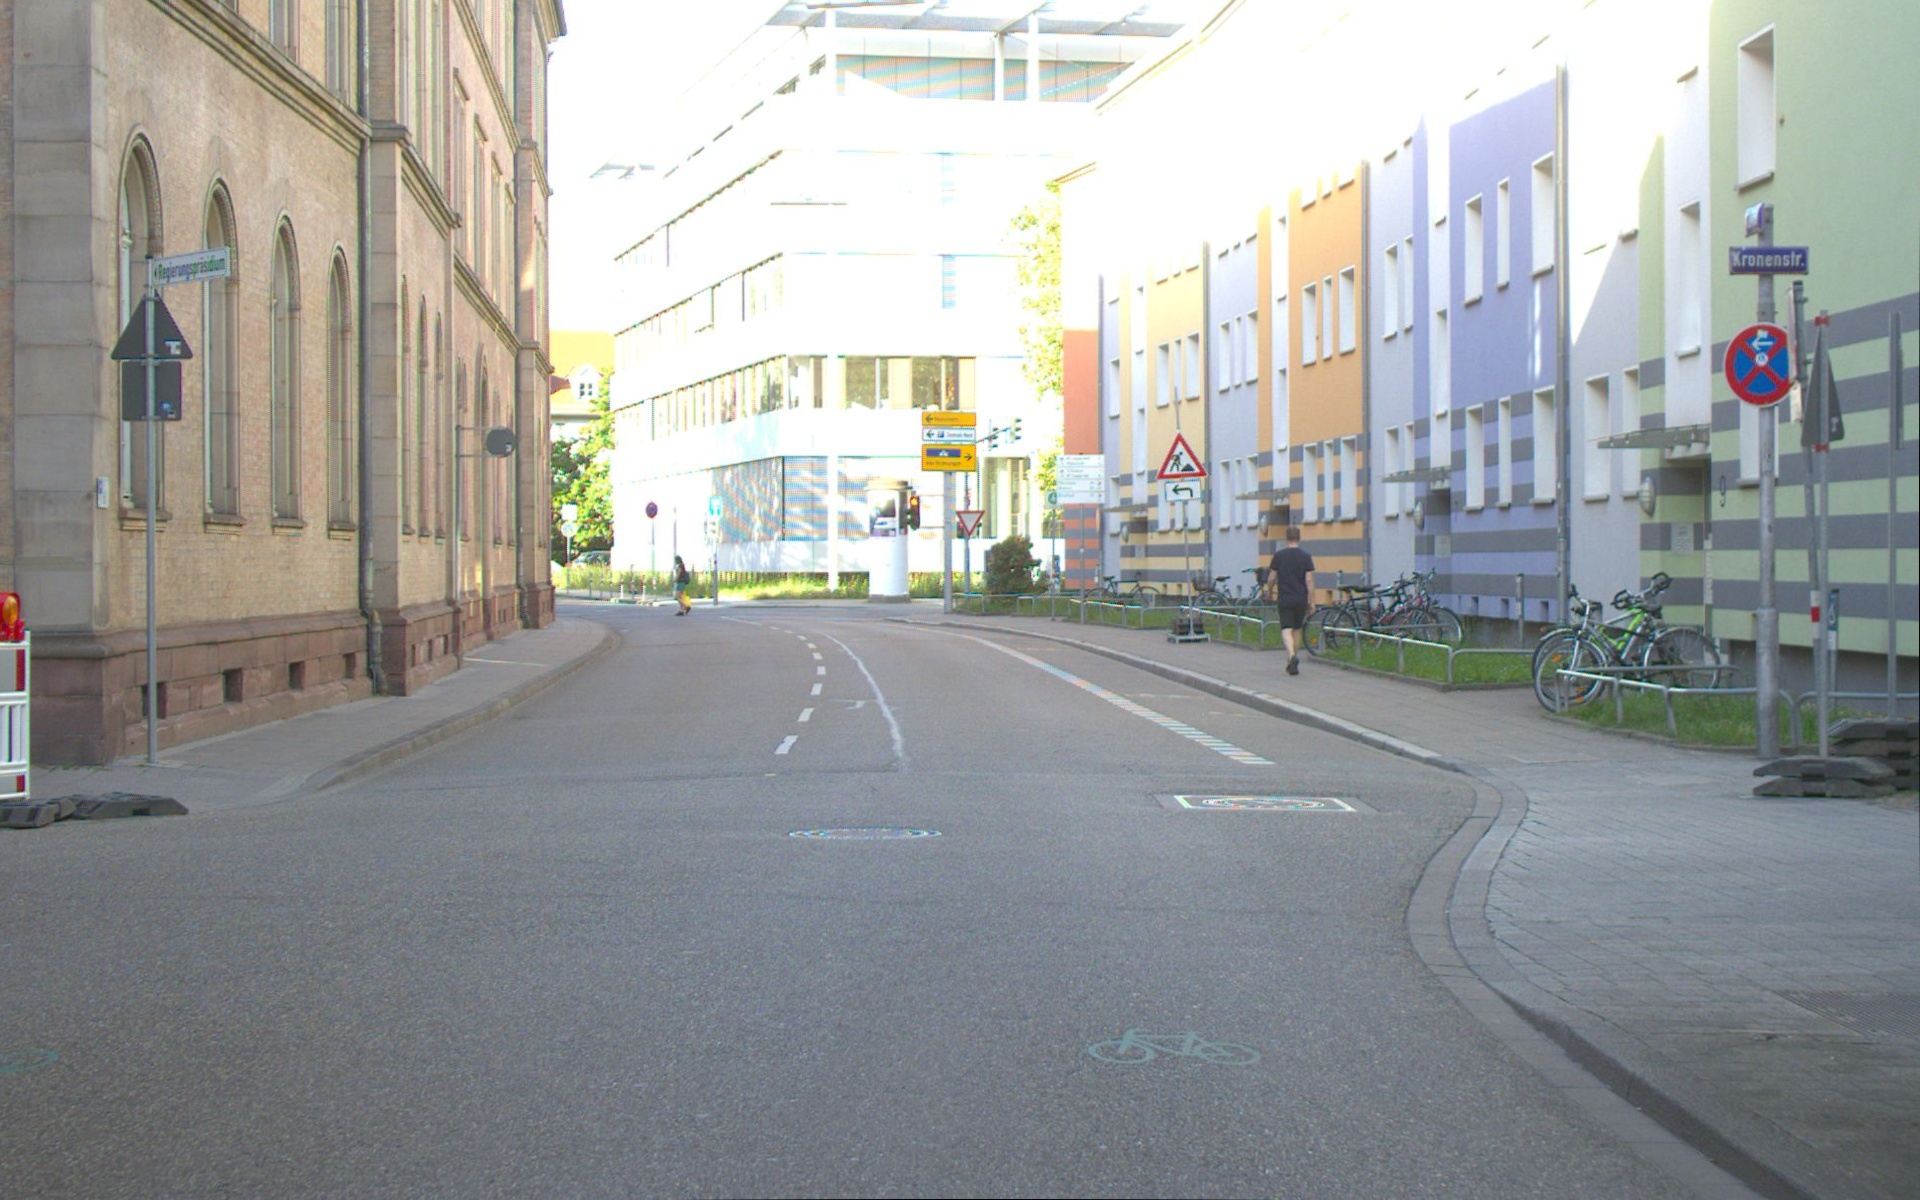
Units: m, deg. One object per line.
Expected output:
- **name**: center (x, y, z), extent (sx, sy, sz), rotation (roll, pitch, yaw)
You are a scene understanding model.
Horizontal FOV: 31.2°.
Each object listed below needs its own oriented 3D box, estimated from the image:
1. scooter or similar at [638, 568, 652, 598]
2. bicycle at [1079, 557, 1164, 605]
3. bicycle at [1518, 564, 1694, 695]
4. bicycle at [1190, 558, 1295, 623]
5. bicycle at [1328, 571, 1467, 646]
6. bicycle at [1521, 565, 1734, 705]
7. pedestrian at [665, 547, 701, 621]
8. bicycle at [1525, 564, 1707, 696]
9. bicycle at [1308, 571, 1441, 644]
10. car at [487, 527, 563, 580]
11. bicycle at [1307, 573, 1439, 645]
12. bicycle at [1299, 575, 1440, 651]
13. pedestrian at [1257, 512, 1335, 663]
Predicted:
- **scooter or similar**: center (-11.467, -0.619, 125.096), extent (0.325, 1.056, 1.143), rotation (0, 1, -14)
- **bicycle**: center (3.552, -0.410, 75.702), extent (1.753, 1.000, 0.613), rotation (-2, 0, -7)
- **bicycle**: center (6.130, 0.273, 32.611), extent (1.602, 1.137, 0.237), rotation (-4, 1, -10)
- **bicycle**: center (5.041, -0.175, 61.409), extent (1.810, 1.133, 0.552), rotation (-1, 0, -4)
- **bicycle**: center (5.793, 0.111, 45.582), extent (1.748, 0.943, 0.552), rotation (-1, 0, -2)
- **bicycle**: center (5.995, 0.309, 30.919), extent (1.748, 1.137, 0.552), rotation (-3, 1, -2)
- **pedestrian**: center (-7.564, -0.441, 93.846), extent (0.895, 2.007, 0.753), rotation (-1, 0, -10)
- **bicycle**: center (6.173, 0.275, 32.338), extent (1.640, 1.137, 0.283), rotation (-4, 1, -10)
- **bicycle**: center (5.618, 0.102, 46.643), extent (1.748, 0.943, 0.326), rotation (-1, 0, -1)
- **car**: center (-18.089, -1.913, 142.795), extent (2.423, 2.105, 5.233), rotation (2, 0, -15)
- **bicycle**: center (5.654, 0.125, 47.124), extent (1.748, 0.943, 0.335), rotation (-1, 0, -2)
- **bicycle**: center (5.333, 0.167, 44.839), extent (1.748, 0.943, 0.552), rotation (-1, 0, -2)
- **pedestrian**: center (4.038, -0.159, 41.363), extent (0.696, 1.754, 1.189), rotation (-3, 1, -2)
